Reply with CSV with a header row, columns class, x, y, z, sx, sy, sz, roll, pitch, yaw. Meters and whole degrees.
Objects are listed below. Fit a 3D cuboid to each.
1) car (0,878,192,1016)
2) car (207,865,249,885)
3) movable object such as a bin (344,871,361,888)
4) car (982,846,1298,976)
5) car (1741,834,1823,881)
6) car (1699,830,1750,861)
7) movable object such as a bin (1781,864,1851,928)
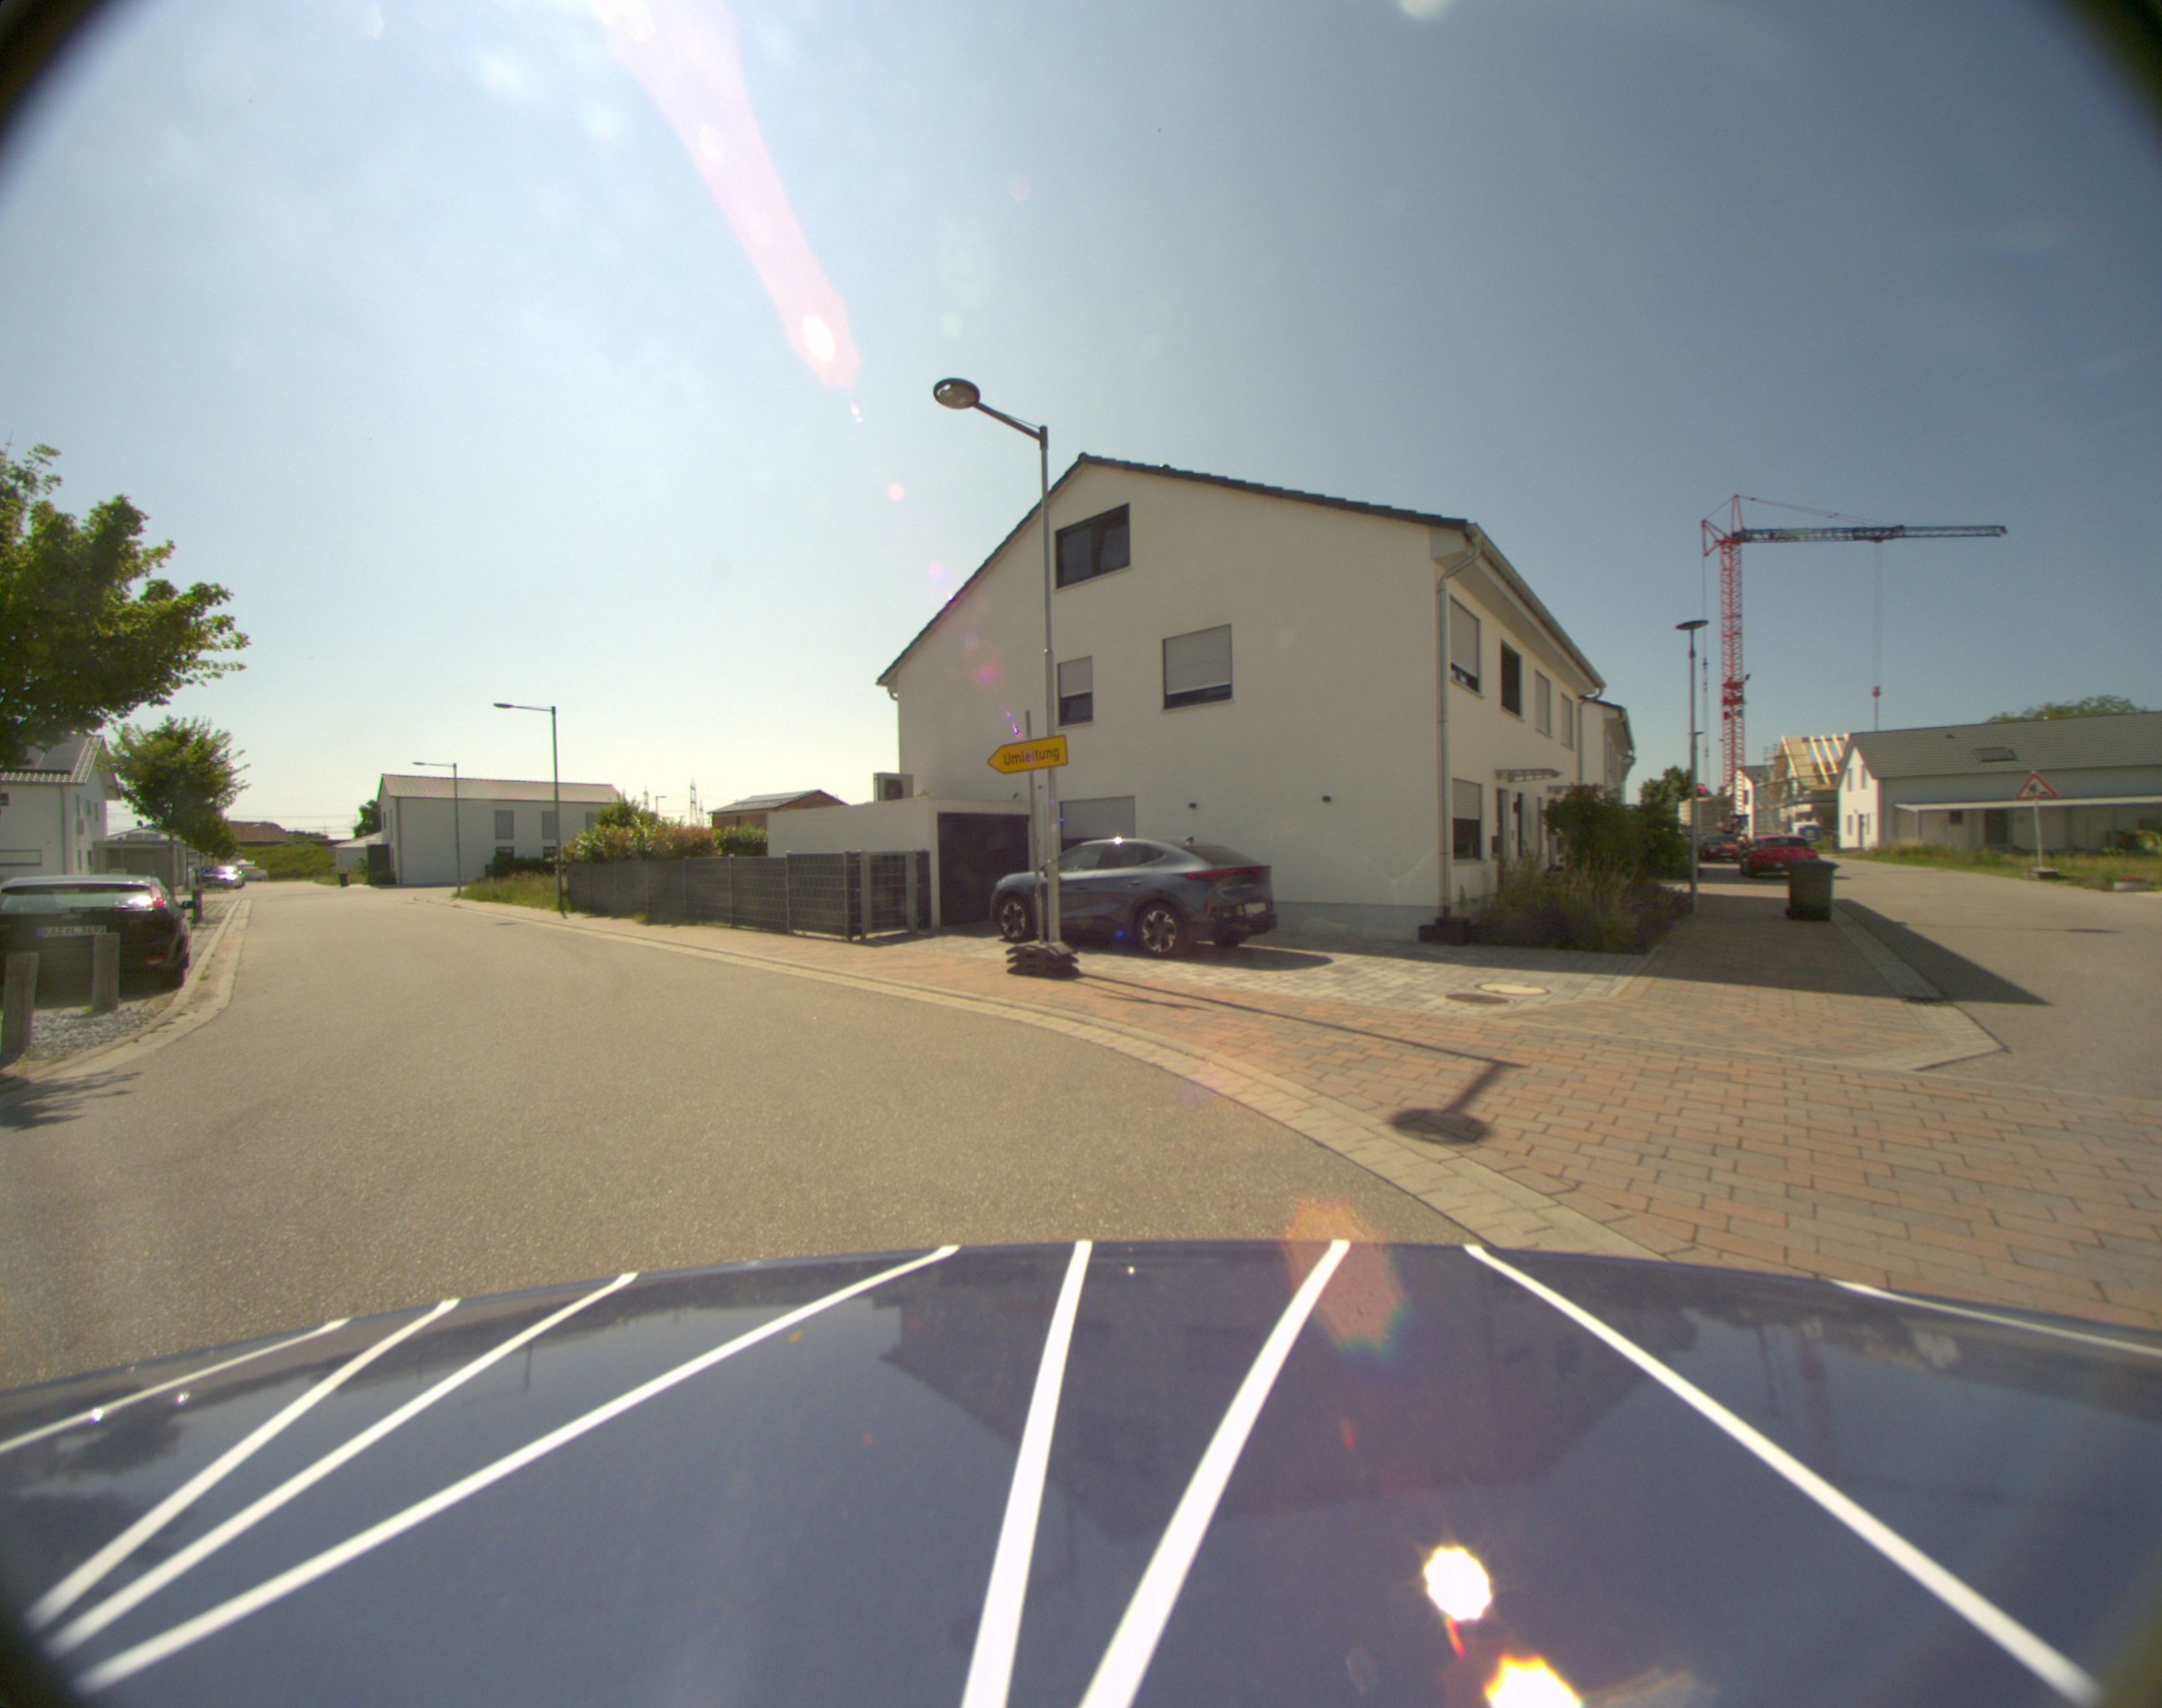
class,x,y,z,sx,sy,sz,roll,pitch,yaw
car,-13.660,1.126,10.279,4.182,1.485,1.853,-1,1,38
car,-65.394,1.588,58.299,4.408,1.412,1.930,-1,1,44
movable object such as a bin,-49.111,1.720,51.239,0.809,1.092,0.670,-2,1,-45
car,0.715,0.691,11.186,4.338,1.549,1.964,-1,0,42
car,24.469,0.089,26.632,1.907,1.470,4.007,-1,2,40
car,36.005,-0.522,42.602,1.798,1.609,3.683,-1,2,34
movable object such as a bin,12.716,0.710,13.170,0.821,1.058,0.591,-1,2,40
